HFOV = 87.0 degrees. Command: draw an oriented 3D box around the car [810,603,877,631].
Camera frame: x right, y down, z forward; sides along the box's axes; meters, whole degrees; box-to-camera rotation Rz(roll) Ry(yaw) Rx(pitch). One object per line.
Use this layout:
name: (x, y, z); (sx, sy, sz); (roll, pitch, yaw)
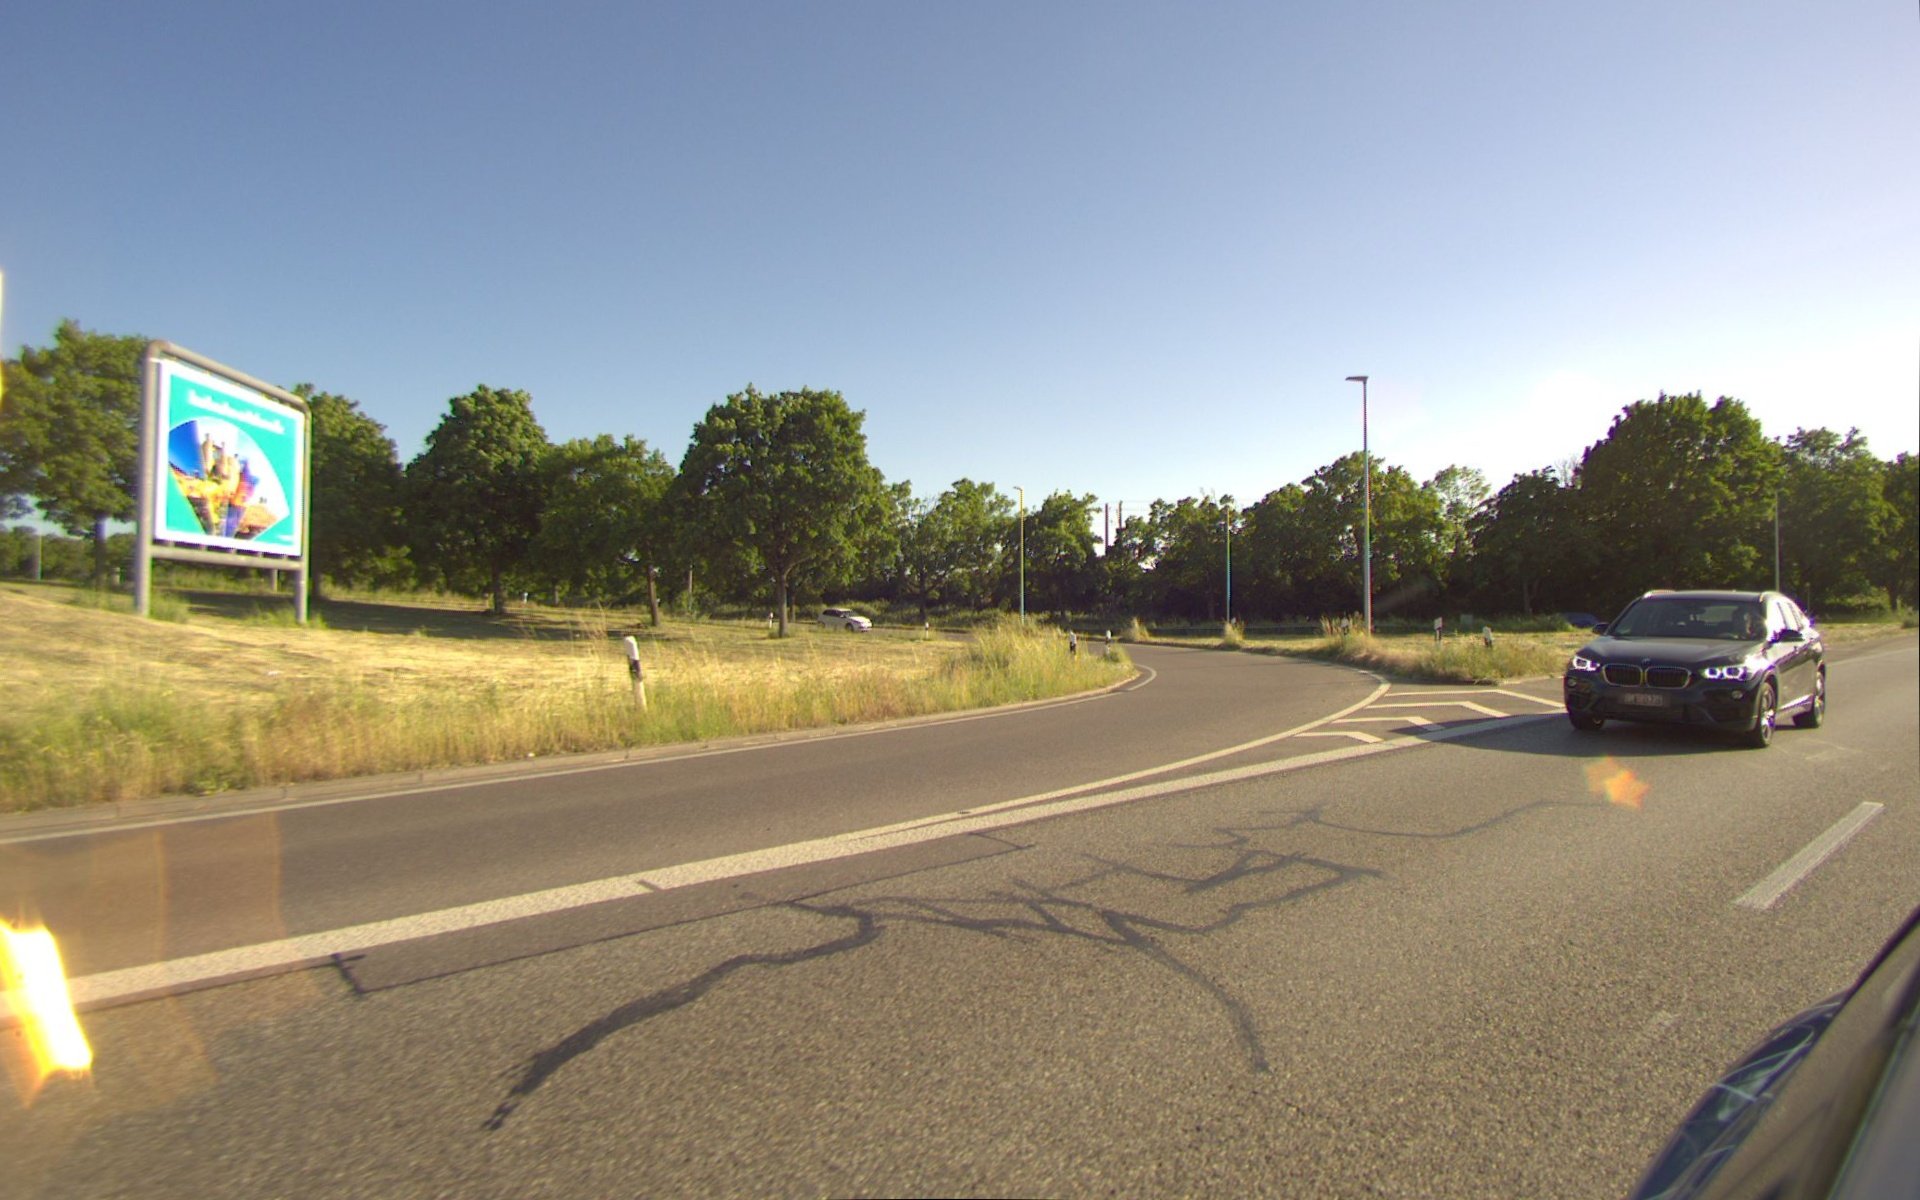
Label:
car: (-7.466, 1.060, 64.830); (3.968, 1.713, 1.848); (1, 0, 31)

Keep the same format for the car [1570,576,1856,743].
car: (8.953, 0.561, 11.888); (4.441, 1.592, 1.759); (0, 1, -41)
